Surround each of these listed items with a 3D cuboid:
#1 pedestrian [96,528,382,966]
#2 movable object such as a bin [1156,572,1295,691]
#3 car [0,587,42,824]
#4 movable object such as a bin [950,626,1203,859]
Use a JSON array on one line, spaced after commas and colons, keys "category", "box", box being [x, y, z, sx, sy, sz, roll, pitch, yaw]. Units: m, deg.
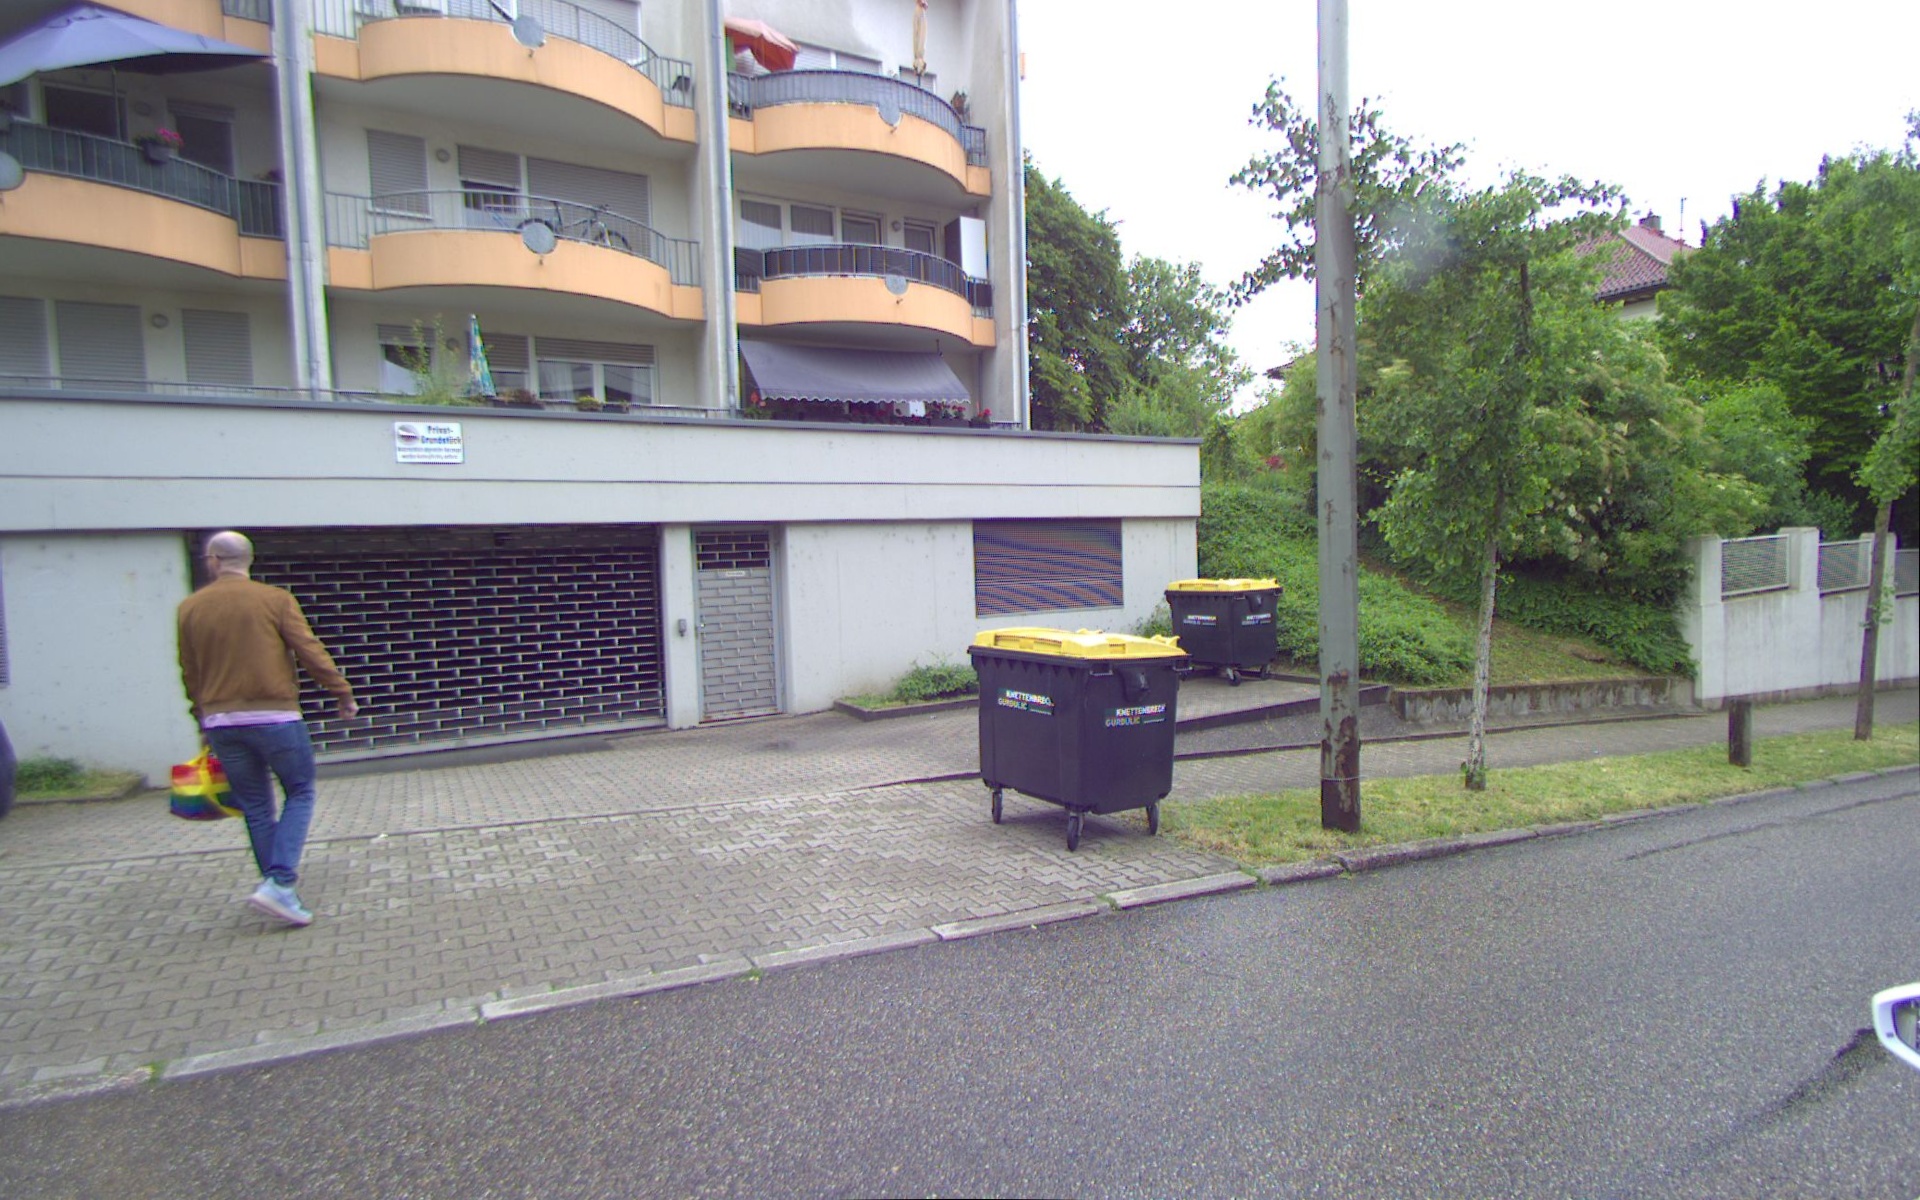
[{"category": "pedestrian", "box": [-3.331, 0.601, 4.763, 0.812, 1.806, 1.068, 2, 2, -20]}, {"category": "movable object such as a bin", "box": [3.533, 0.375, 13.392, 1.215, 1.383, 1.289, -7, 6, -36]}, {"category": "car", "box": [-8.133, 0.676, 5.642, 4.050, 1.582, 1.770, 1, -4, -31]}, {"category": "movable object such as a bin", "box": [0.774, 0.877, 6.871, 1.145, 1.324, 1.288, 0, 2, -38]}]
